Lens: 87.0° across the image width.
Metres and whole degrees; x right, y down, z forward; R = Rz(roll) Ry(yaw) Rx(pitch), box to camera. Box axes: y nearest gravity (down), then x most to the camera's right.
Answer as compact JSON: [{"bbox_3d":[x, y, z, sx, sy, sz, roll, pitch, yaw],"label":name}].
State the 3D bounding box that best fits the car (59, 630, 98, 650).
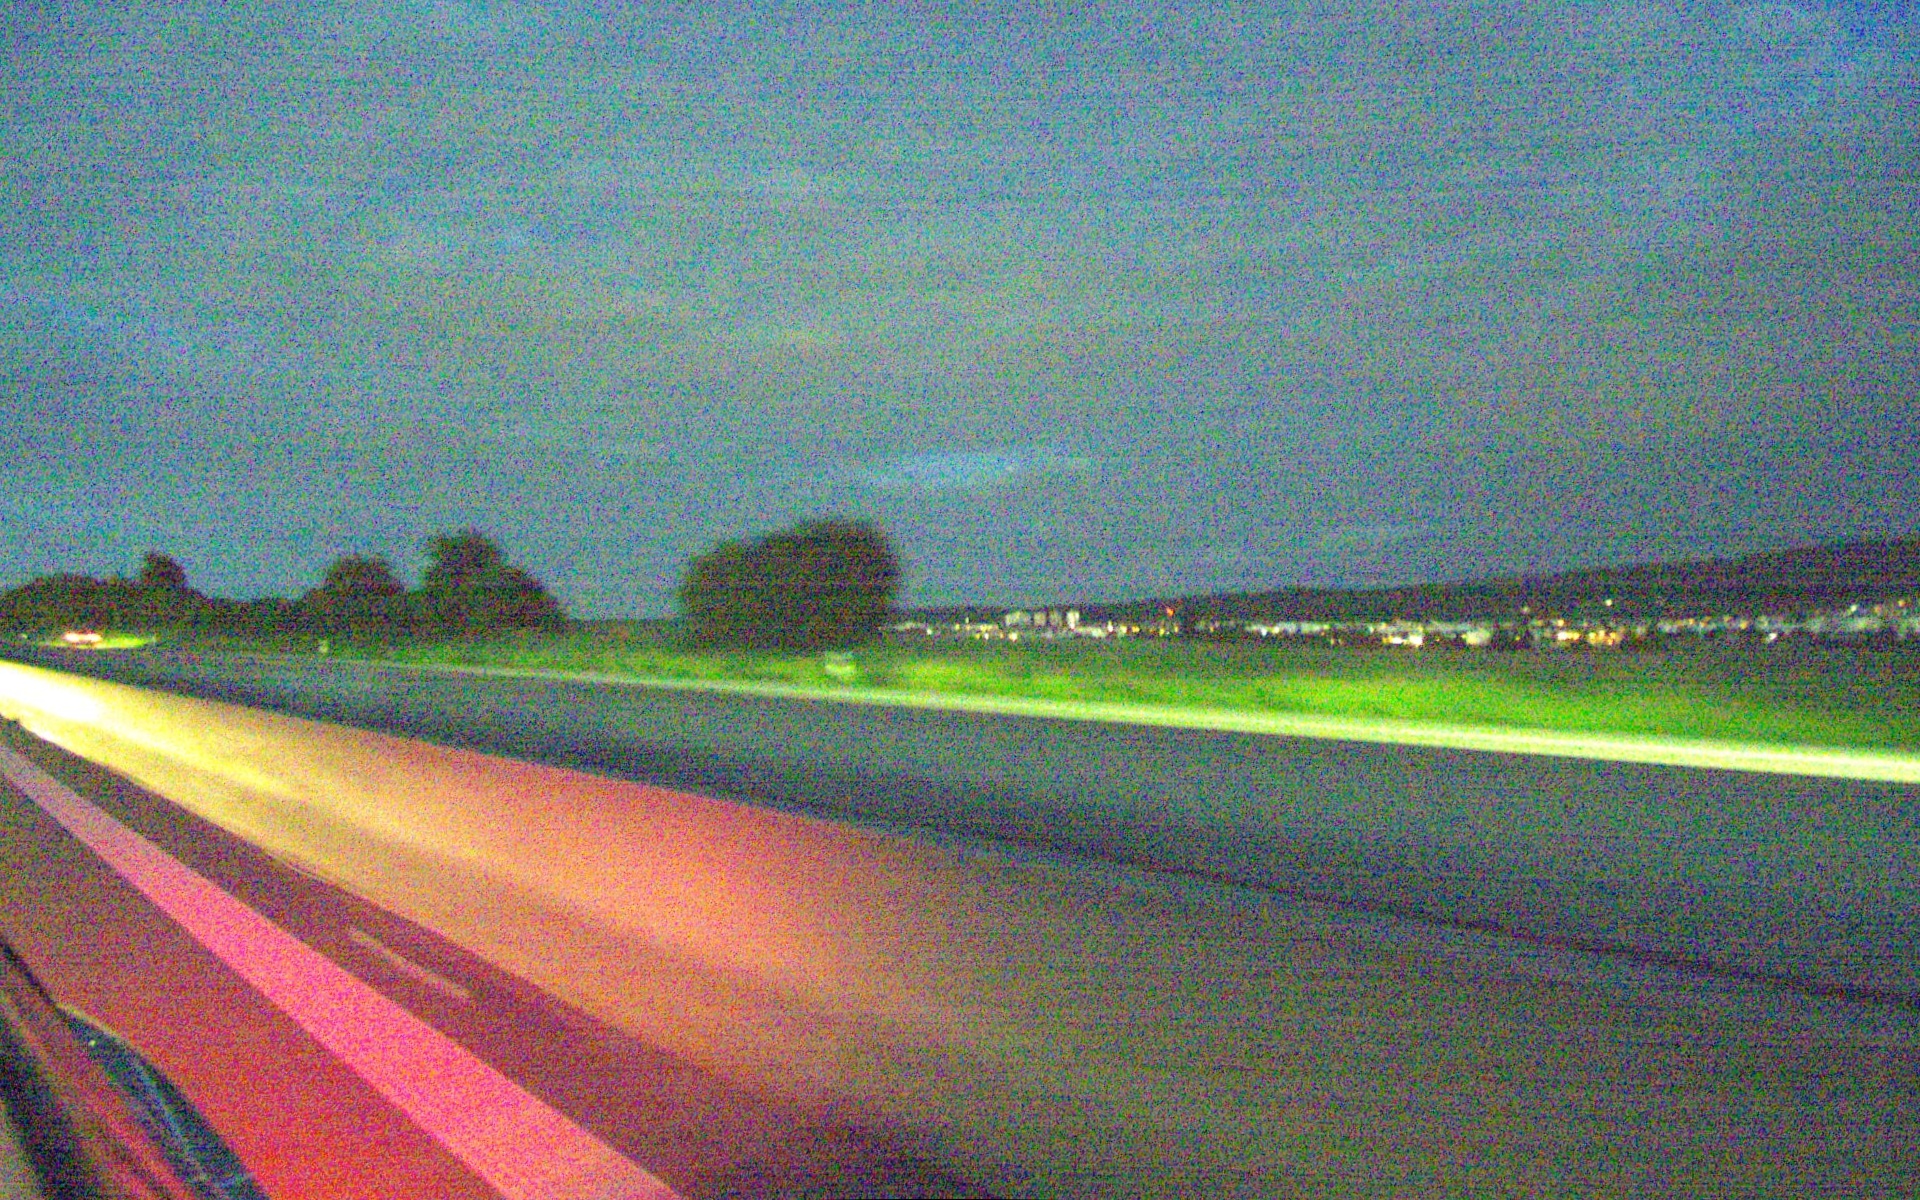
[{"bbox_3d":[-79.734,3.594,91.491,4.773,1.733,2.023,-2,-4,42],"label":"car"}]
